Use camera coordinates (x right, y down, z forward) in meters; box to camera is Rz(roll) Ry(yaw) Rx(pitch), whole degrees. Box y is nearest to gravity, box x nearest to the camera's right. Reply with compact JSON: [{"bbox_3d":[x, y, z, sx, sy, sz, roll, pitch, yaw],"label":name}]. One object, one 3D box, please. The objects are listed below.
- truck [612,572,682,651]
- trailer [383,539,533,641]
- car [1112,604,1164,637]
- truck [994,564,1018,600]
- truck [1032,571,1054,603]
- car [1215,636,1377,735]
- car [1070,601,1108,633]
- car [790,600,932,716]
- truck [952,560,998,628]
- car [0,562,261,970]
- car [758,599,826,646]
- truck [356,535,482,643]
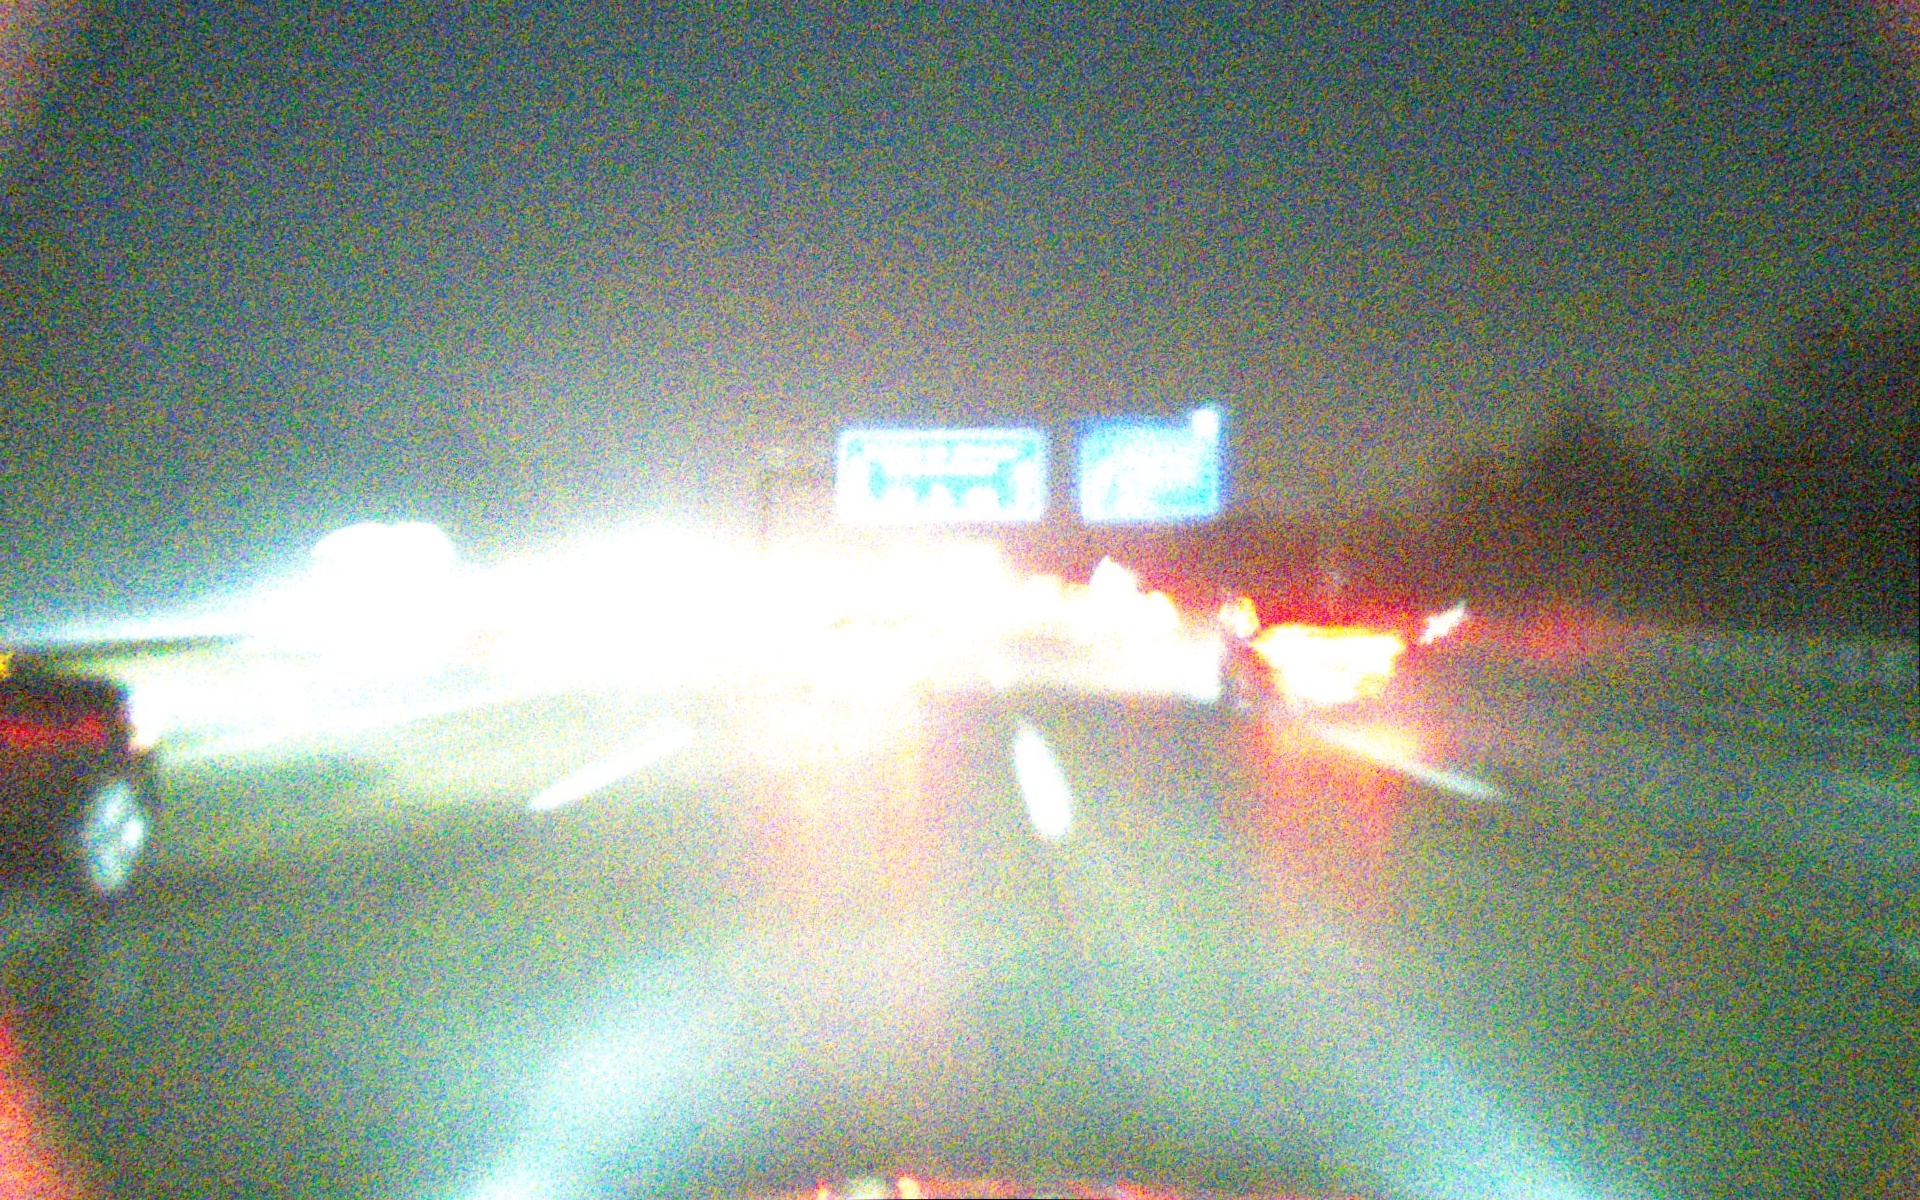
[{"bbox_3d":[-20.641,0.746,109.480,2.863,4.934,7.577,-2,-1,1],"label":"truck"},{"bbox_3d":[-20.791,-0.344,69.411,2.641,3.814,12.018,-2,0,-1],"label":"trailer"},{"bbox_3d":[7.031,0.793,65.618,1.549,1.268,3.066,1,0,-4],"label":"car"},{"bbox_3d":[4.239,-1.657,151.996,1.952,3.096,6.466,-2,0,2],"label":"truck"},{"bbox_3d":[8.482,-1.259,169.533,1.952,3.096,6.466,-2,0,2],"label":"truck"},{"bbox_3d":[4.805,1.196,23.995,1.549,1.268,3.066,1,0,-4],"label":"car"},{"bbox_3d":[6.931,0.907,88.846,1.824,1.646,4.001,1,0,2],"label":"car"},{"bbox_3d":[-1.342,0.765,23.840,1.765,1.513,4.000,1,0,0],"label":"car"},{"bbox_3d":[0.765,-0.255,79.998,1.952,3.096,6.466,-2,0,2],"label":"truck"},{"bbox_3d":[-4.593,0.633,6.289,1.820,1.567,4.751,0,1,0],"label":"car"},{"bbox_3d":[-4.894,0.651,48.488,1.628,1.258,3.760,-3,0,-1],"label":"car"},{"bbox_3d":[-20.740,-0.382,63.761,2.641,3.825,6.453,-2,-1,-1],"label":"truck"}]
